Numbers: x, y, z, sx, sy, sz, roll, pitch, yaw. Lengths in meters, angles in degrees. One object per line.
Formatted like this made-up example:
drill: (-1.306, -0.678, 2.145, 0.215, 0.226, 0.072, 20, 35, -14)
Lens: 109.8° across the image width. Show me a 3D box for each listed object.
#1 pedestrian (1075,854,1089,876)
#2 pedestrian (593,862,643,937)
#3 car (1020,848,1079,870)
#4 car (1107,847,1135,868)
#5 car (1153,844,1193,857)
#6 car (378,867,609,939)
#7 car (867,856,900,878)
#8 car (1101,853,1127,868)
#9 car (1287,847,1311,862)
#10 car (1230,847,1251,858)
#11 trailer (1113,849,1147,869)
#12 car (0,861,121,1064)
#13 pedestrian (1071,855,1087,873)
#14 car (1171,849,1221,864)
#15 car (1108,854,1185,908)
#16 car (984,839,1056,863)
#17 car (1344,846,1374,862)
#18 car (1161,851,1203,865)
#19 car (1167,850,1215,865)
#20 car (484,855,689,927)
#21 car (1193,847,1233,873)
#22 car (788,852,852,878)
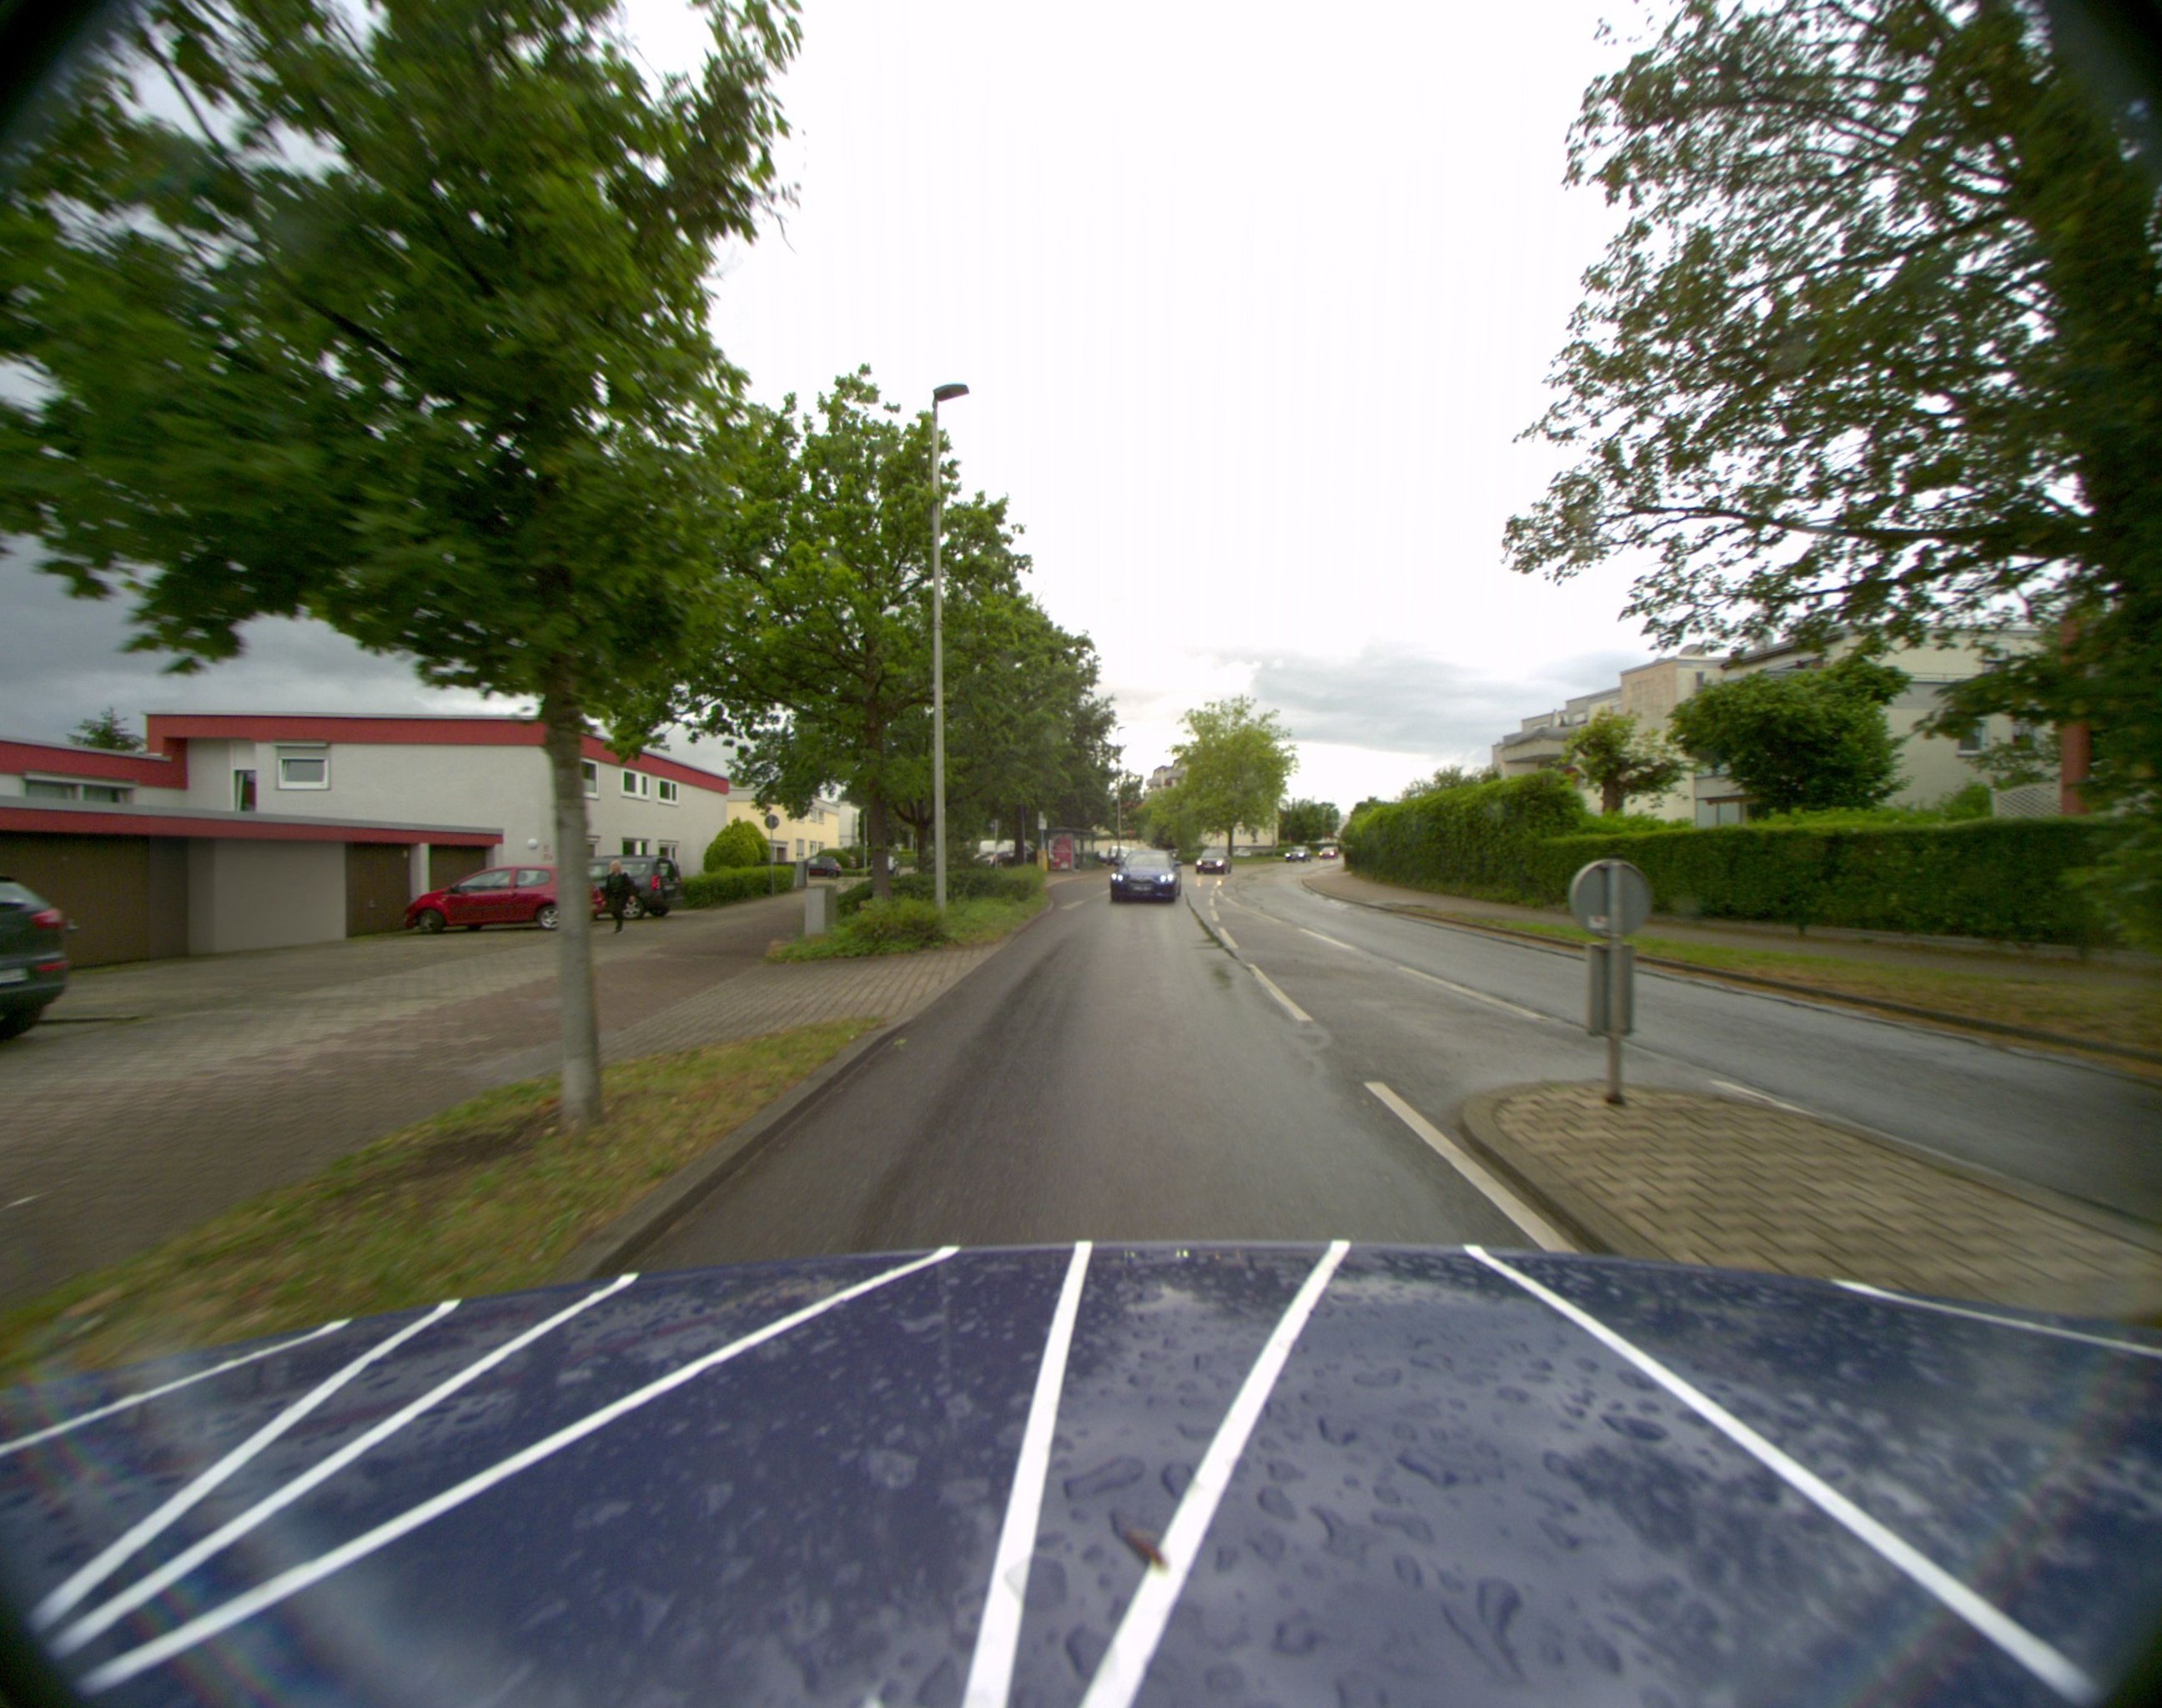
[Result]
pedestrian: (0.061, 0.653, 45.110, 0.727, 1.243, 0.552, 0, 1, 19)
pedestrian: (-9.965, 0.958, 16.383, 0.666, 1.549, 0.841, -1, 1, -12)
car: (-2.180, 0.330, 52.810, 3.650, 1.477, 1.762, -1, 1, 17)
car: (3.534, 0.294, 67.896, 1.999, 1.870, 4.211, -1, 0, -3)
car: (10.218, -0.419, 84.487, 4.013, 1.363, 1.767, 0, 1, 22)
car: (-13.035, 1.039, 17.080, 3.704, 1.433, 1.705, -1, 1, -9)
car: (-14.338, 0.892, 55.357, 1.692, 1.501, 3.824, -1, 0, -6)
car: (3.153, 0.633, 73.012, 1.766, 1.374, 4.184, -1, 0, -8)
car: (22.216, 0.028, 77.384, 1.837, 1.541, 4.007, -1, 0, 24)
car: (22.644, -0.204, 108.012, 1.746, 1.472, 3.765, 0, 1, -9)
trailer: (3.972, 0.384, 61.824, 2.000, 1.534, 4.423, 0, 0, -6)
car: (-10.968, 0.918, 5.876, 4.192, 1.662, 1.990, -1, 1, -6)
pedestrian: (-0.103, 0.591, 44.425, 0.749, 1.006, 0.552, 0, 1, 19)
car: (11.306, 0.261, 74.552, 4.576, 1.434, 1.767, 0, 1, 22)
car: (2.082, 0.729, 22.989, 1.911, 1.425, 4.304, 0, 1, 11)
car: (-5.183, -0.263, 64.738, 5.827, 2.002, 2.002, 0, 1, 17)
car: (31.967, 0.014, 87.305, 1.891, 1.602, 4.874, -2, 1, 36)
car: (10.738, 0.365, 80.687, 4.013, 1.434, 1.767, 0, 1, 22)
car: (11.193, 0.334, 77.392, 4.576, 1.434, 1.767, 0, 1, 22)
car: (-12.749, 0.917, 19.847, 4.000, 1.711, 1.922, -1, 1, -9)
car: (8.012, 0.342, 45.851, 1.838, 1.440, 4.005, -1, 0, 17)
car: (-16.943, 0.703, 49.486, 3.624, 1.523, 1.760, 2, 0, -10)
